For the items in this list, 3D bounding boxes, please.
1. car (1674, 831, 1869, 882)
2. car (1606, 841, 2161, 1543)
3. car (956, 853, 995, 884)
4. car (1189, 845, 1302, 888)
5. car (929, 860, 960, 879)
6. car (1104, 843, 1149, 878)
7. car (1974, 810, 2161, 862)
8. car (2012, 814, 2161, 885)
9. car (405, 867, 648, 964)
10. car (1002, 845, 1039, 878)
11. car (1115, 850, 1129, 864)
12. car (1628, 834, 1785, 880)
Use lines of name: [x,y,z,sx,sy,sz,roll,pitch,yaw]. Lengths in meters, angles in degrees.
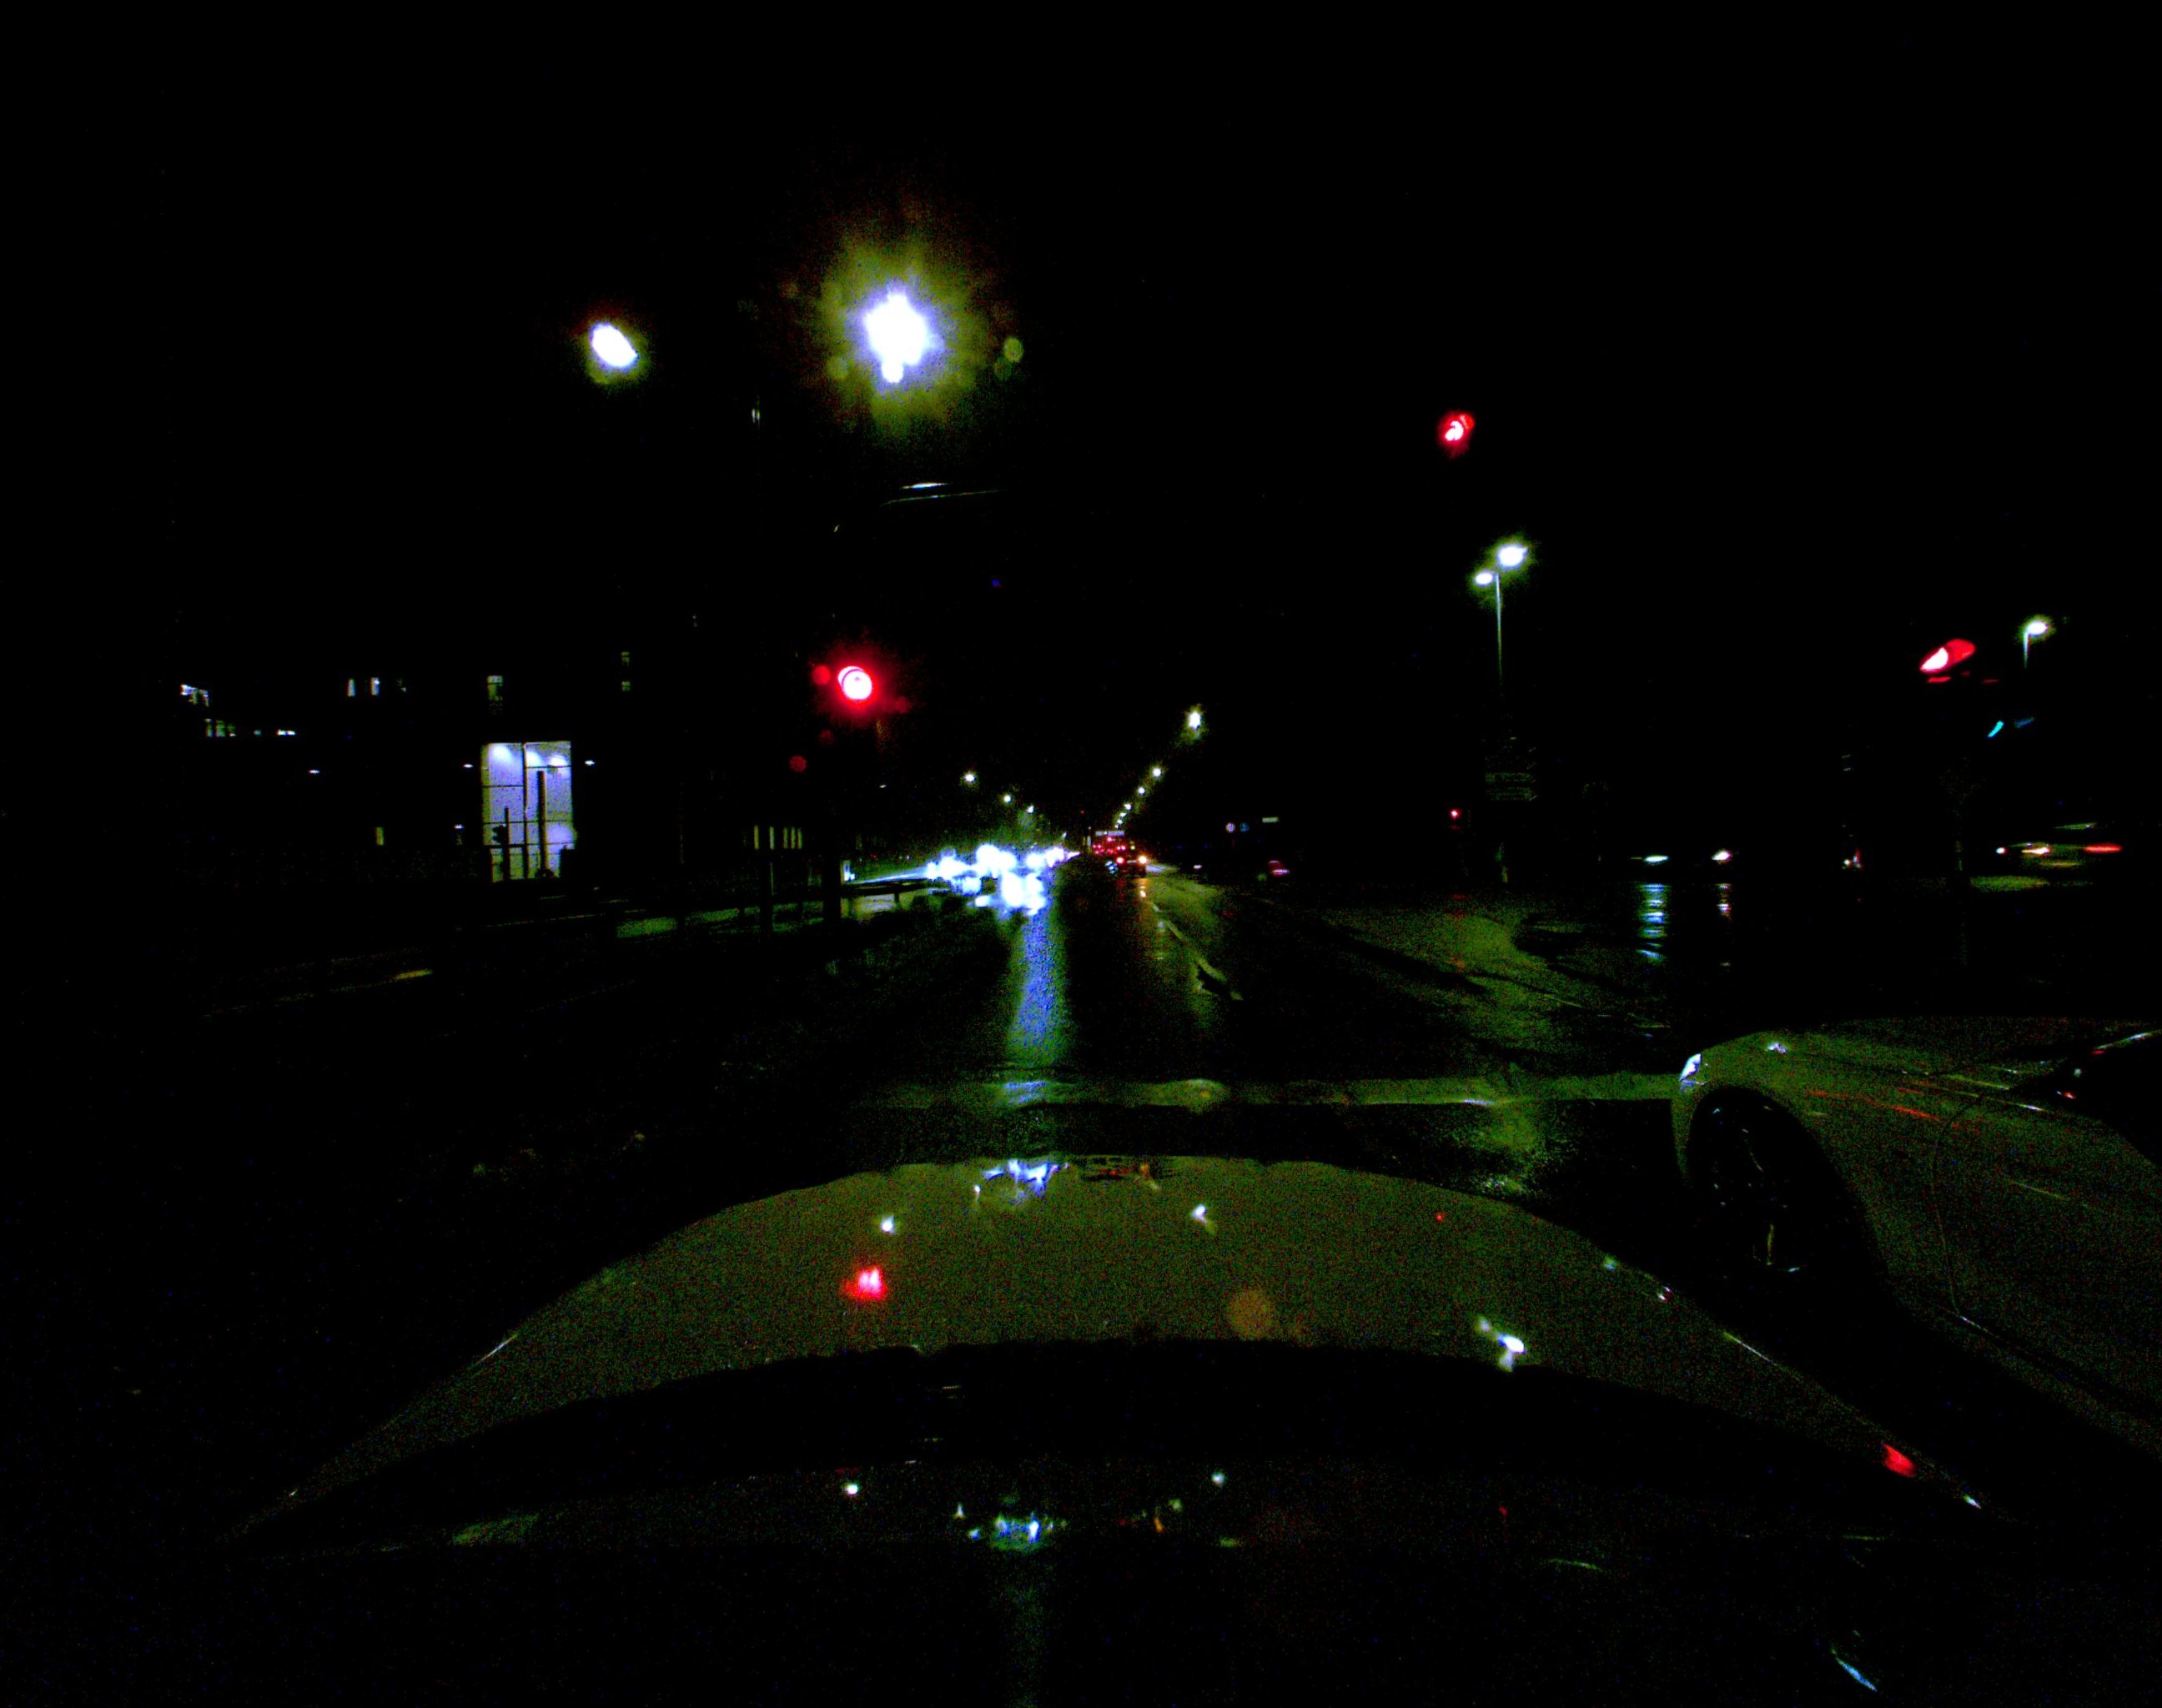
car: [23.453,0.097,27.832,4.823,1.590,1.857,-1,-1,8]
car: [3.128,0.705,1.312,1.714,1.446,4.383,-3,-1,1]
car: [-6.641,0.913,51.638,1.776,1.816,4.002,-2,-1,2]
car: [7.034,0.561,34.970,4.296,1.755,1.997,-2,-1,32]
car: [-12.171,1.394,72.789,1.840,1.590,4.354,-1,-1,2]
car: [2.483,0.381,45.212,1.682,1.838,3.416,-1,-1,-11]
car: [33.148,-0.566,27.149,4.311,1.590,1.858,-1,-1,10]
car: [25.895,-0.125,19.435,4.934,1.610,2.001,-1,-1,2]
car: [-10.804,1.107,16.344,1.764,1.569,4.333,-2,-1,2]
car: [-3.951,0.502,54.146,1.986,2.014,4.001,-2,0,2]
car: [6.804,0.557,134.371,2.200,2.215,3.644,-1,-1,2]
car: [23.485,0.127,30.731,4.311,1.590,1.858,-1,-1,10]
